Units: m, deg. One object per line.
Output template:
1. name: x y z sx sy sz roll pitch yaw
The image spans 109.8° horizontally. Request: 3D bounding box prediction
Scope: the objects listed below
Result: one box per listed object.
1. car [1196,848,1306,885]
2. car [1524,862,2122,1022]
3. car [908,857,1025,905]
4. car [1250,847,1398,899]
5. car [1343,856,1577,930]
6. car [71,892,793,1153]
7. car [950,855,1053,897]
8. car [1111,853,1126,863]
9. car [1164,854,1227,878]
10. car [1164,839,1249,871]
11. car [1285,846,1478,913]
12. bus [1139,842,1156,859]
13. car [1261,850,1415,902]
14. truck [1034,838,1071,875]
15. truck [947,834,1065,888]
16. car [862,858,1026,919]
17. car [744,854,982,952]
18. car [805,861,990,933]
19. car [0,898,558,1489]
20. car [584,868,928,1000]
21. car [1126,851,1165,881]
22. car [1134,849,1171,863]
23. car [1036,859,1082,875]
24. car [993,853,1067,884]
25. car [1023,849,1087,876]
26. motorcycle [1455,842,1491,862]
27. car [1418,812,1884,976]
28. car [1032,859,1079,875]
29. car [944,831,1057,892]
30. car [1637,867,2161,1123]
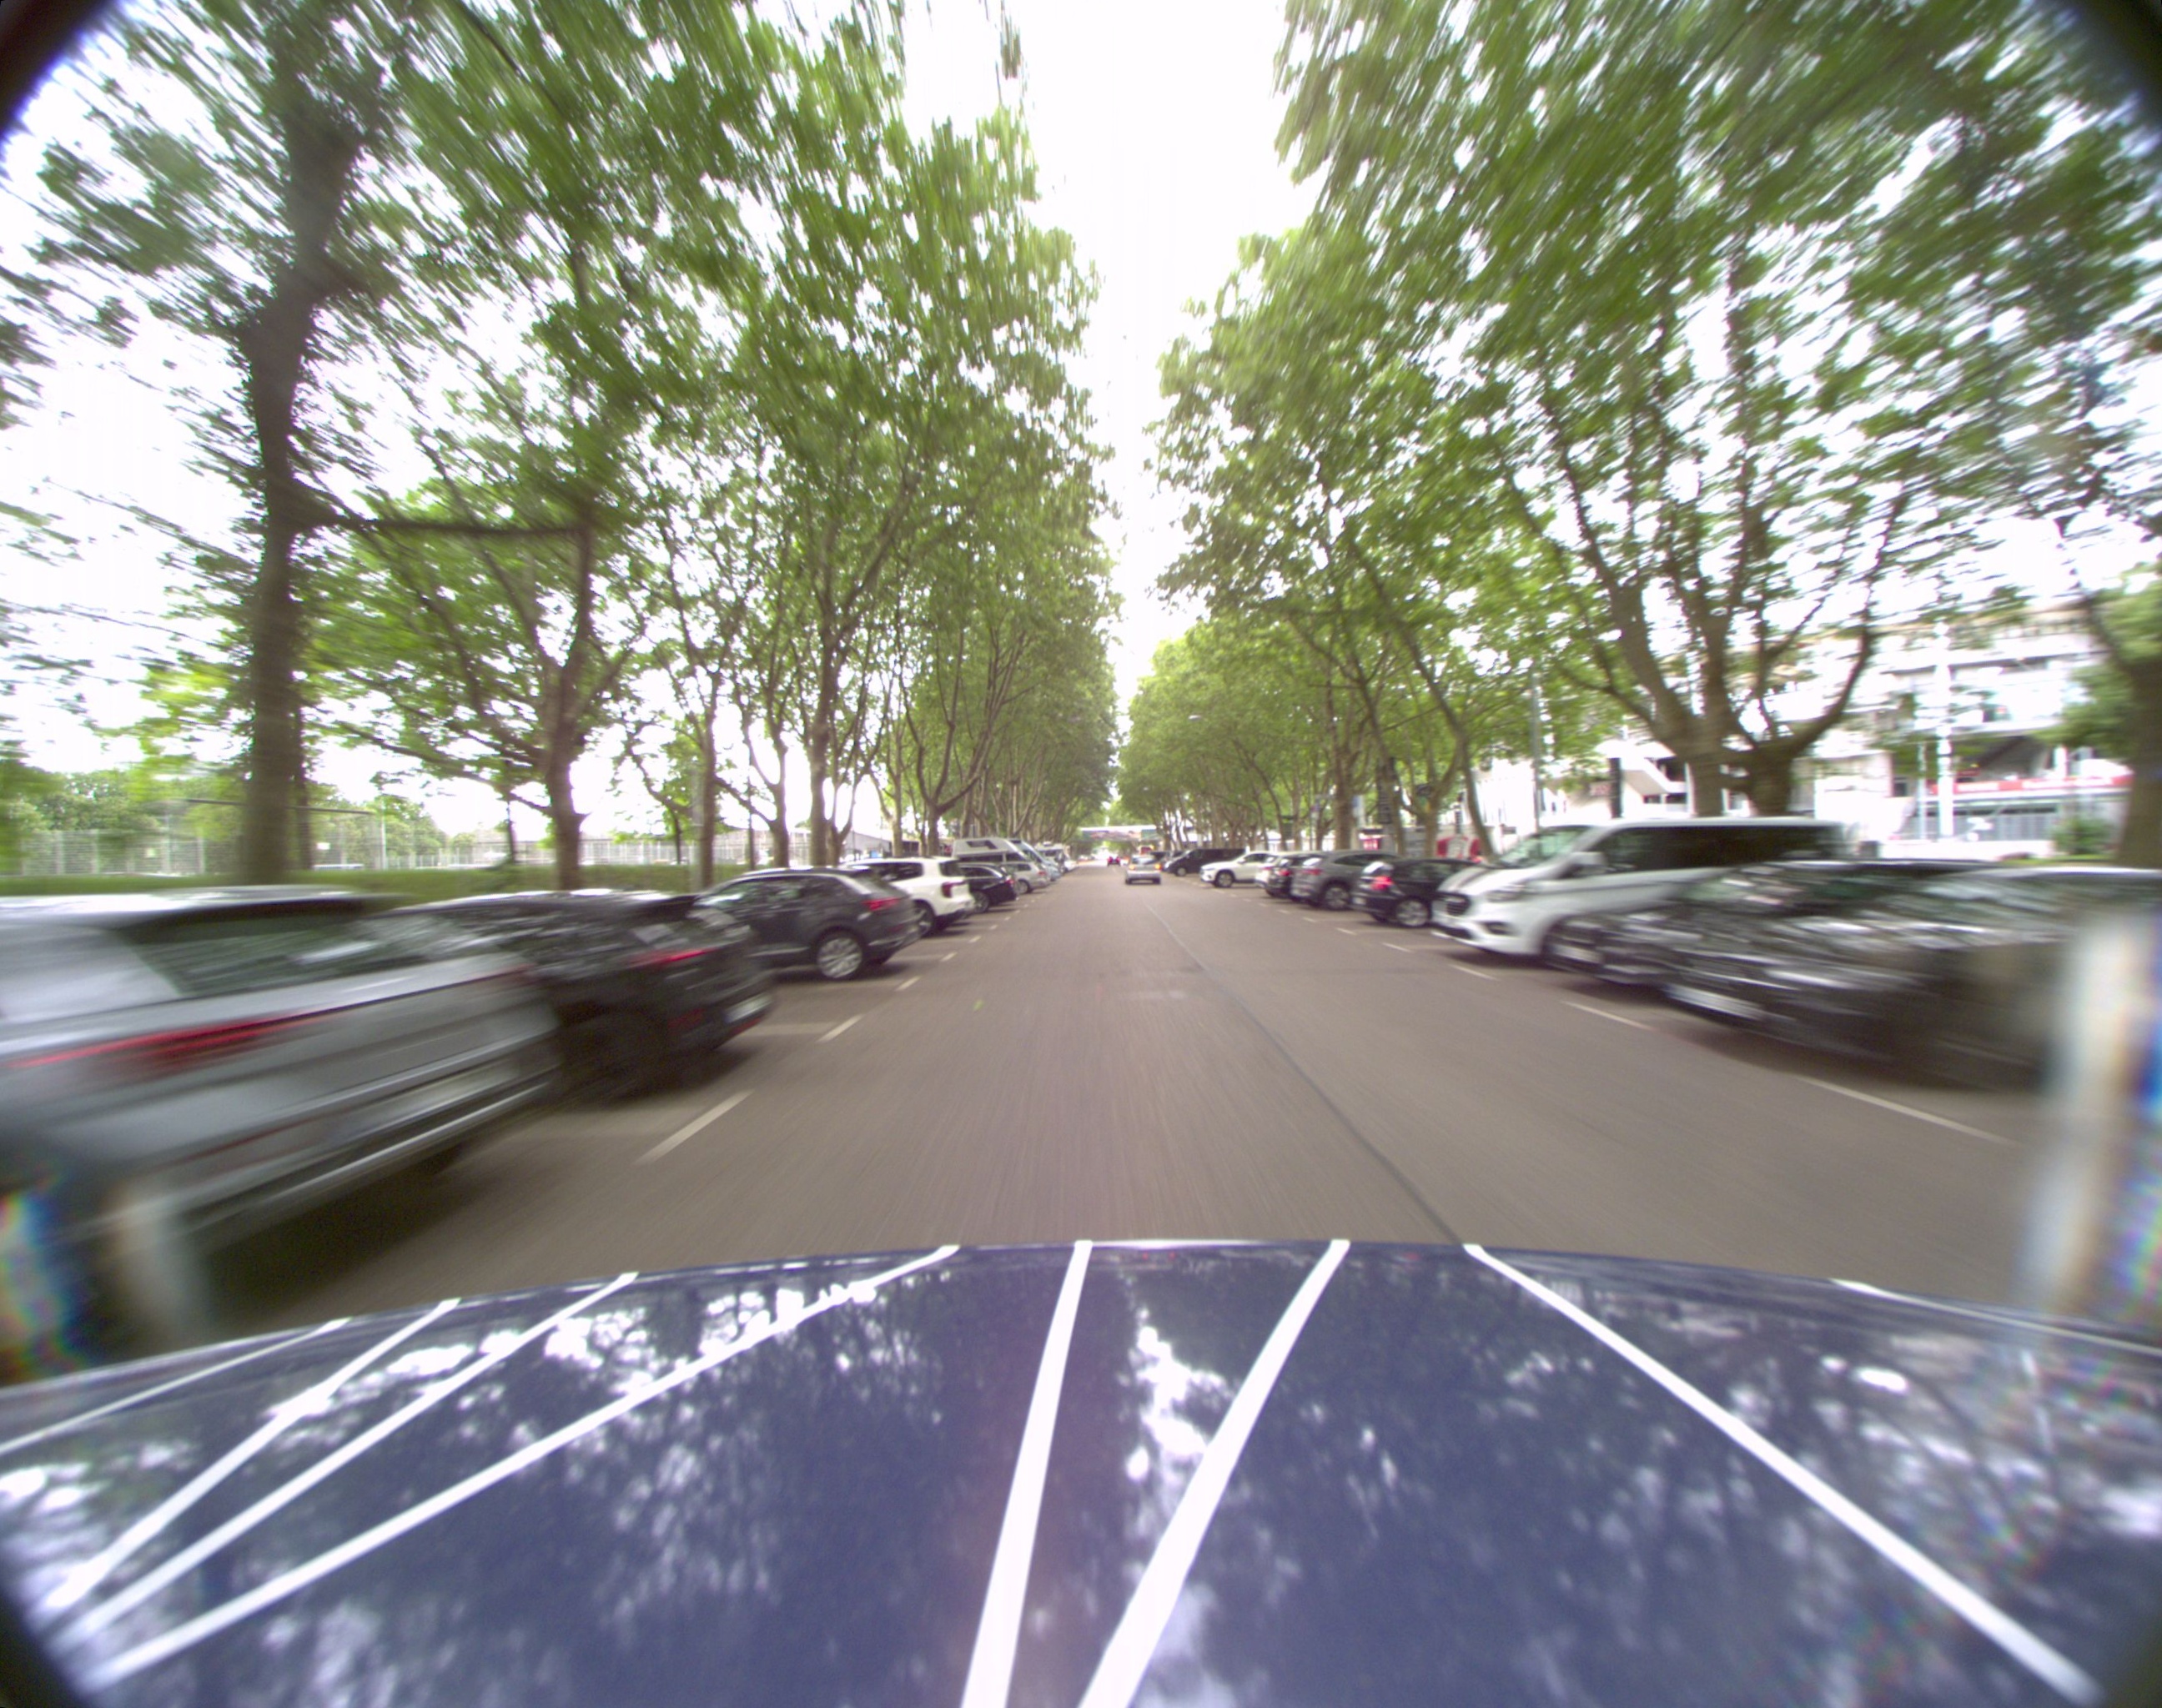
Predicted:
1. car: 7.409 0.535 33.442 4.391 1.587 2.000 0 0 0
2. car: 7.366 0.825 7.919 4.459 1.444 1.774 0 1 1
3. car: -4.242 0.995 28.648 4.054 1.517 1.814 -3 0 0
4. car: 8.127 0.617 25.724 4.351 1.658 2.000 1 0 0
5. car: 7.696 0.764 15.714 3.996 1.405 1.683 1 0 2
6. car: -4.419 1.112 5.650 3.836 1.381 1.694 -3 0 0
7. car: -3.414 0.952 33.157 4.129 1.420 1.703 -5 1 3
8. car: 5.027 0.513 102.063 1.658 1.356 4.111 1 0 -2
9. car: 8.828 0.942 58.851 4.663 1.809 1.807 1 -1 5
10. car: 8.445 0.085 51.578 5.449 2.115 1.940 0 0 0
11. car: 7.934 0.654 20.384 4.351 1.658 2.000 1 0 0
12. bus: 12.653 -0.628 145.368 2.657 3.136 12.371 1 0 3
13. car: 7.629 0.636 22.840 3.997 1.467 1.842 1 0 0
14. truck: -2.519 0.173 65.989 2.466 2.920 7.533 -3 0 -7
15. truck: -4.230 0.397 43.358 6.308 2.699 2.098 -3 1 3
16. car: -4.002 1.000 22.682 4.513 1.517 1.703 -3 0 0
17. car: -4.500 0.989 16.109 4.394 1.745 1.801 -3 0 4
18. car: -4.614 1.061 19.421 4.194 1.548 1.701 -3 0 5
19. car: -4.649 1.120 3.050 3.836 1.598 1.694 -3 0 0
20. car: -4.354 1.045 10.625 3.997 1.477 1.694 -3 0 0
21. car: 3.242 0.563 38.896 1.693 1.463 3.839 0 0 0
22. car: 9.074 0.212 96.722 4.526 1.608 1.758 -2 0 4
23. car: -2.254 1.294 78.292 4.377 1.437 1.609 -3 0 -20
24. car: -3.164 0.887 47.979 4.350 1.608 1.804 -4 0 4
25. car: -3.003 0.980 86.699 6.903 2.679 2.125 -3 1 -9
26. motorcycle: 22.201 -0.118 43.077 1.659 1.136 0.739 -1 1 5
27. car: 7.435 0.478 10.280 4.906 2.007 1.919 0 1 -2
28. car: -2.451 1.240 73.253 4.330 1.294 1.700 -3 0 2
29. car: -3.975 0.378 38.230 5.241 2.673 1.957 -3 1 2
30. car: 6.786 0.839 5.259 4.457 1.444 1.775 0 1 5
